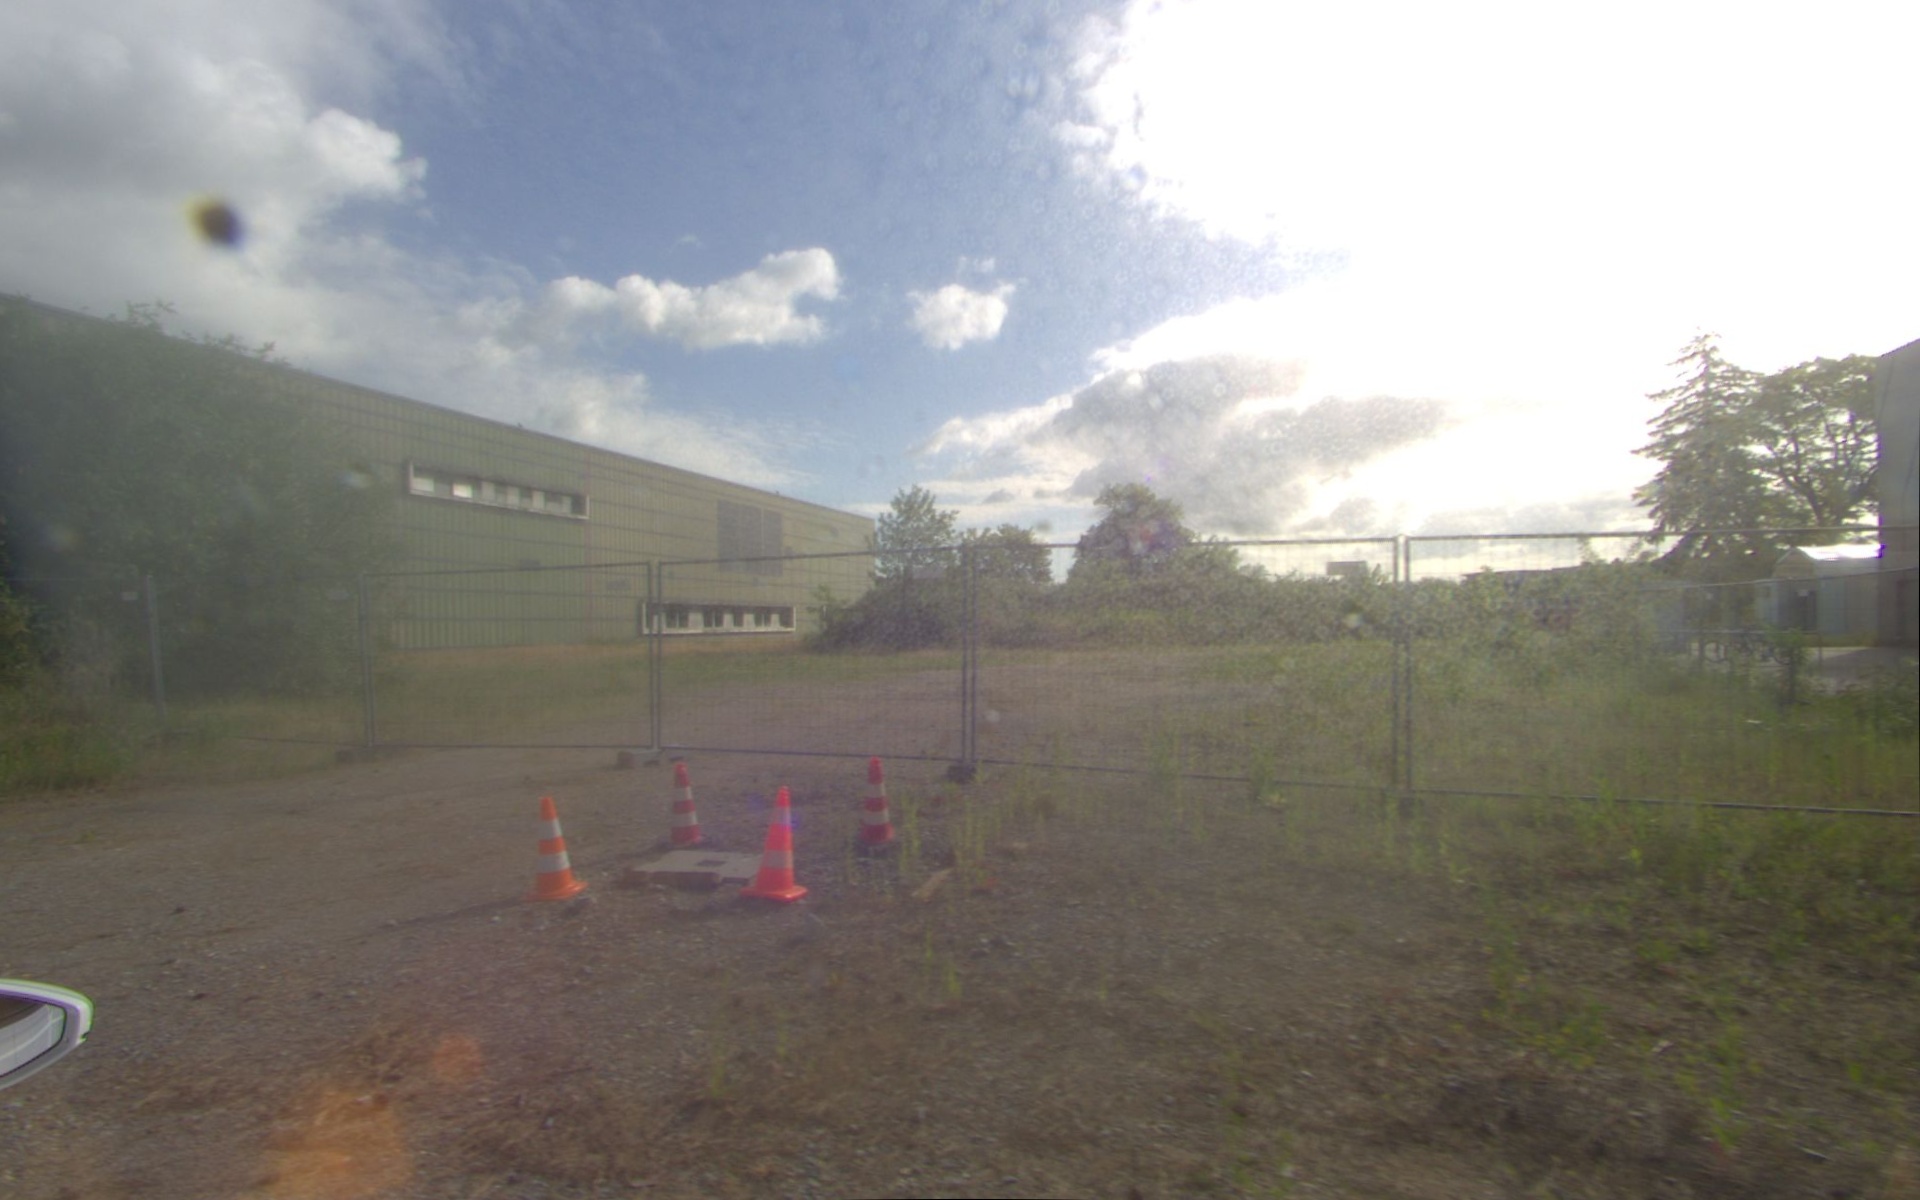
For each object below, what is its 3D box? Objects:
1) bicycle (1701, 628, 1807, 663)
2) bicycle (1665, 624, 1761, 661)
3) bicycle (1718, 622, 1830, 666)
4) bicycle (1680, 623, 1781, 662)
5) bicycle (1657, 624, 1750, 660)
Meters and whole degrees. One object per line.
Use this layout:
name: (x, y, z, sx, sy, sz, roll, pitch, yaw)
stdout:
bicycle: (21.631, 1.245, 27.326, 2.032, 0.933, 0.945, -1, -1, 16)
bicycle: (22.084, 1.244, 29.411, 2.032, 1.057, 0.945, -1, -1, 16)
bicycle: (21.212, 1.140, 26.146, 2.032, 1.101, 0.945, -1, -1, 16)
bicycle: (21.774, 1.201, 28.335, 2.032, 1.057, 0.945, -1, -1, 16)
bicycle: (22.496, 1.278, 30.343, 2.032, 1.057, 0.945, -1, -1, 16)
